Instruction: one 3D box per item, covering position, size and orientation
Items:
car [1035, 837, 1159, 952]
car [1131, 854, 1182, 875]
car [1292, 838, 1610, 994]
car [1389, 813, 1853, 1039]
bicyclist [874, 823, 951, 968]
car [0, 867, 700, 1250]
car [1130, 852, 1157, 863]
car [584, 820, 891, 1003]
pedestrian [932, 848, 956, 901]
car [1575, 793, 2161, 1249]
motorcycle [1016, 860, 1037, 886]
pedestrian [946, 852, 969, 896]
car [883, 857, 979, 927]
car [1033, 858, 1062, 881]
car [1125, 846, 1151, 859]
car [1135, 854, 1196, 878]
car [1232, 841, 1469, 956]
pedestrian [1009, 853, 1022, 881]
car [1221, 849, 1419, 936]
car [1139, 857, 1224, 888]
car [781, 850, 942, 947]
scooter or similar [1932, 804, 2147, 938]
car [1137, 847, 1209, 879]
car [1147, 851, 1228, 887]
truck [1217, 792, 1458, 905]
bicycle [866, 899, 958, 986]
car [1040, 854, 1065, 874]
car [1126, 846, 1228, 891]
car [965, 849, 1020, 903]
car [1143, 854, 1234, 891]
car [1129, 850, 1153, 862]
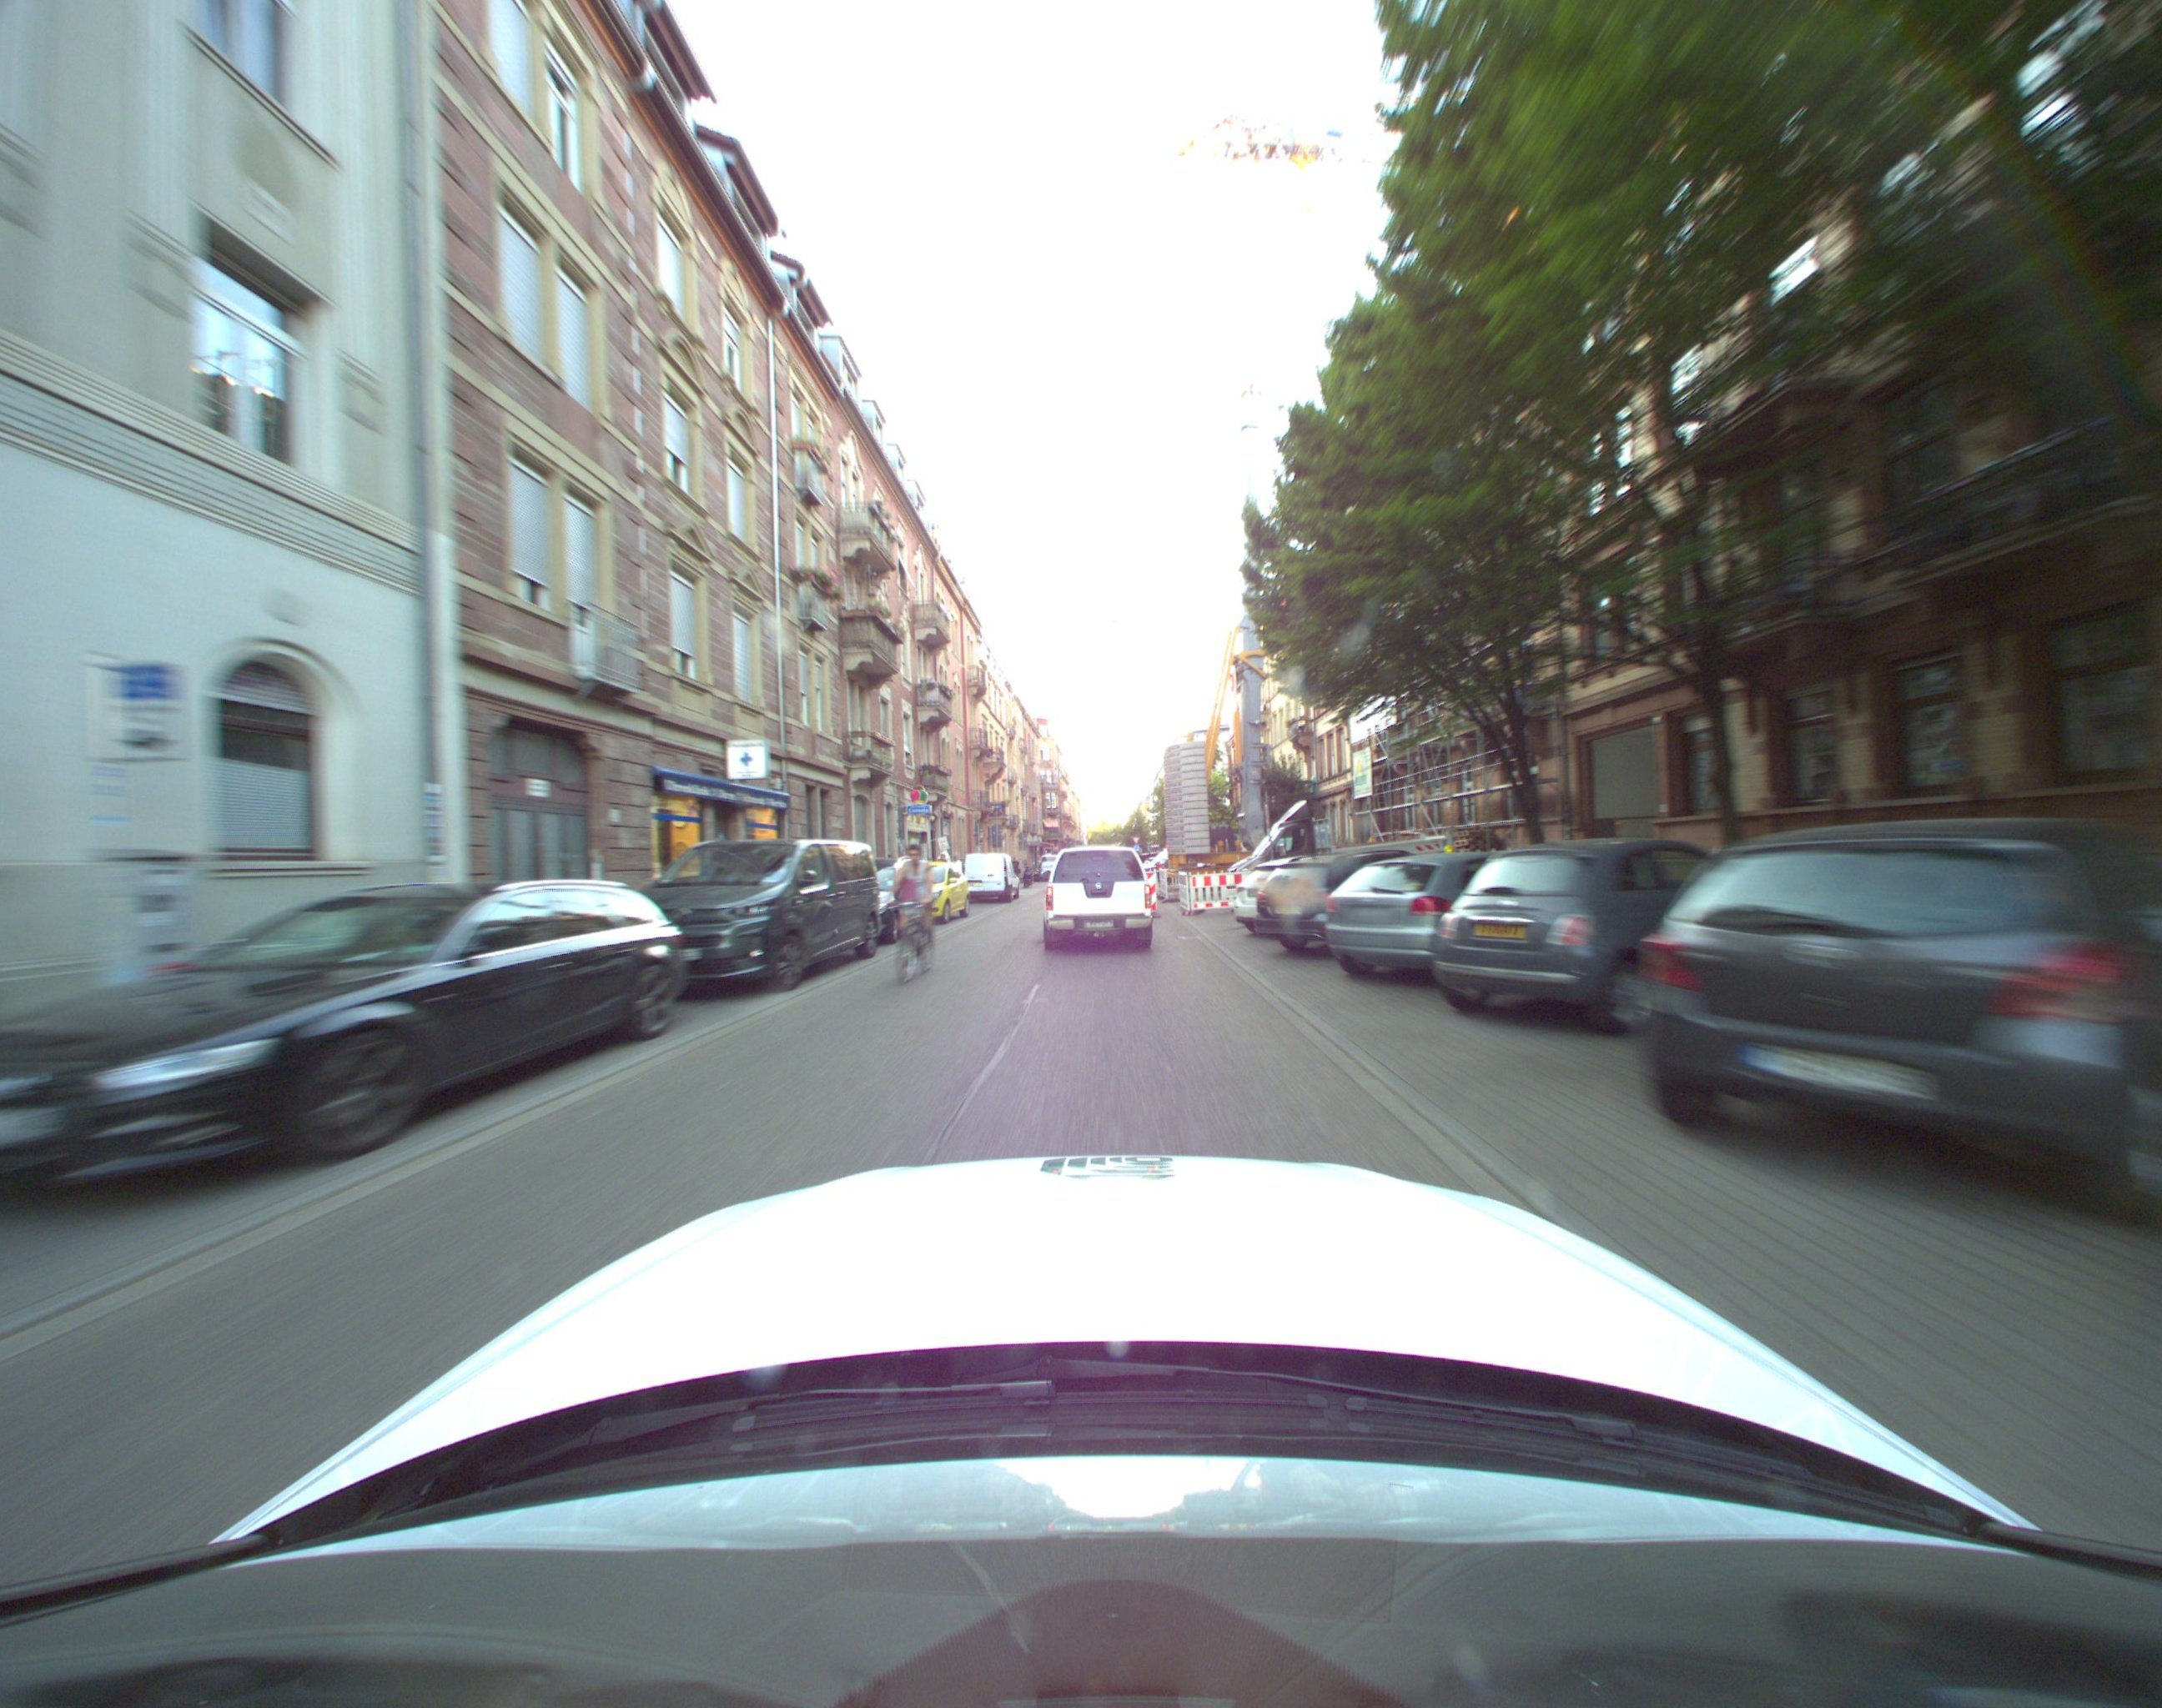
[{"bbox_3d":[0.133,0.655,15.319,1.929,1.794,4.615,-1,0,-4],"label":"car"},{"bbox_3d":[6.396,0.884,68.798,4.176,1.622,1.822,-2,0,4],"label":"car"},{"bbox_3d":[4.656,0.635,10.110,3.852,1.436,1.744,-4,0,-33],"label":"car"},{"bbox_3d":[5.027,0.519,7.597,3.842,1.530,1.748,-3,-1,-24],"label":"car"},{"bbox_3d":[-2.247,0.530,10.979,0.798,1.849,0.943,-1,-1,0],"label":"bicyclist"},{"bbox_3d":[-4.690,0.870,5.539,1.904,1.472,4.536,-1,0,2],"label":"car"},{"bbox_3d":[10.022,0.540,129.929,4.176,1.622,1.822,-2,0,4],"label":"car"},{"bbox_3d":[-4.267,0.628,11.212,1.897,1.925,4.950,-1,0,3],"label":"car"},{"bbox_3d":[-4.996,0.741,29.738,0.735,1.869,0.618,-1,-1,0],"label":"pedestrian"},{"bbox_3d":[4.525,0.495,4.322,3.417,1.474,1.758,-4,1,-29],"label":"car"},{"bbox_3d":[-3.054,1.058,45.671,0.833,1.416,2.551,-2,0,3],"label":"motorcycle"},{"bbox_3d":[-5.311,0.857,35.037,0.610,1.869,0.744,-2,-1,25],"label":"pedestrian"},{"bbox_3d":[-3.802,0.899,21.218,1.493,1.593,3.860,-2,0,3],"label":"car"},{"bbox_3d":[-2.413,1.103,59.707,1.784,1.530,4.002,-2,0,2],"label":"car"},{"bbox_3d":[9.949,-0.258,141.881,4.566,2.177,1.822,-2,0,4],"label":"car"},{"bbox_3d":[5.988,0.840,57.622,4.176,1.622,1.822,-2,0,4],"label":"car"},{"bbox_3d":[4.346,0.603,12.881,3.912,1.530,1.619,-1,-1,-38],"label":"car"},{"bbox_3d":[-4.728,0.946,58.639,0.785,2.014,0.935,-1,-1,1],"label":"pedestrian"},{"bbox_3d":[4.636,0.677,15.730,3.570,1.464,1.596,-1,0,-29],"label":"car"},{"bbox_3d":[5.140,0.934,41.486,4.172,1.429,1.823,-2,0,7],"label":"car"},{"bbox_3d":[-4.276,0.805,16.575,1.896,1.663,4.071,-2,0,3],"label":"car"},{"bbox_3d":[10.009,0.168,8.578,0.510,1.242,1.351,-8,0,1],"label":"scooter or similar"},{"bbox_3d":[5.533,0.543,49.184,4.176,1.780,1.822,-2,0,4],"label":"car"},{"bbox_3d":[5.725,0.814,43.837,4.172,1.780,1.823,-2,0,7],"label":"car"},{"bbox_3d":[7.297,-0.101,23.807,6.294,2.977,2.265,-2,-3,3],"label":"truck"},{"bbox_3d":[-2.227,1.140,11.014,0.798,0.947,2.004,-1,0,0],"label":"bicycle"},{"bbox_3d":[-2.266,0.787,65.638,1.703,1.530,4.002,-2,0,2],"label":"car"},{"bbox_3d":[4.112,0.600,34.937,4.172,1.780,1.823,-2,0,7],"label":"car"},{"bbox_3d":[-3.282,0.789,30.766,1.553,1.921,3.857,0,0,2],"label":"car"},{"bbox_3d":[5.070,0.876,38.912,4.176,1.622,1.822,-2,0,4],"label":"car"},{"bbox_3d":[11.712,0.334,159.531,4.566,2.177,1.822,-2,0,4],"label":"car"}]
